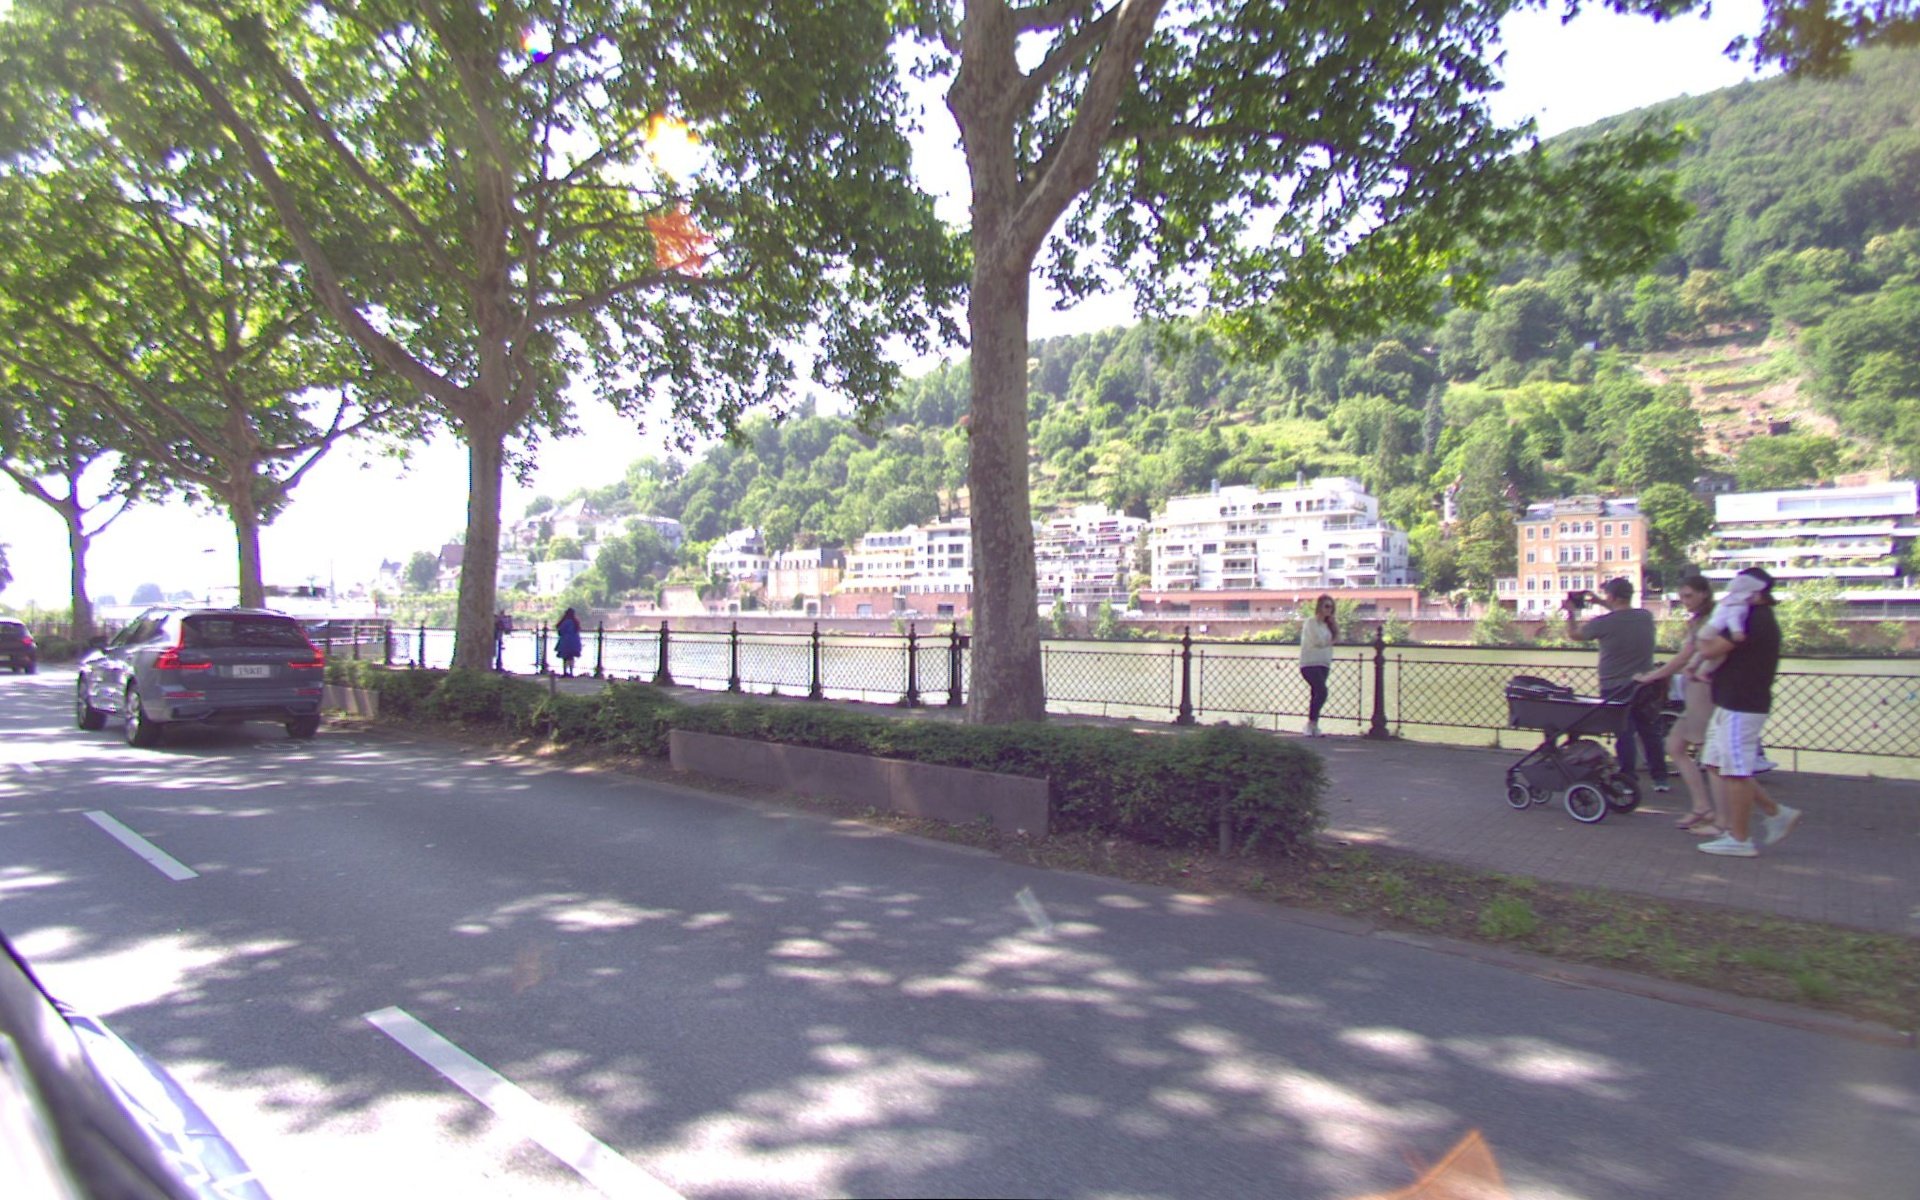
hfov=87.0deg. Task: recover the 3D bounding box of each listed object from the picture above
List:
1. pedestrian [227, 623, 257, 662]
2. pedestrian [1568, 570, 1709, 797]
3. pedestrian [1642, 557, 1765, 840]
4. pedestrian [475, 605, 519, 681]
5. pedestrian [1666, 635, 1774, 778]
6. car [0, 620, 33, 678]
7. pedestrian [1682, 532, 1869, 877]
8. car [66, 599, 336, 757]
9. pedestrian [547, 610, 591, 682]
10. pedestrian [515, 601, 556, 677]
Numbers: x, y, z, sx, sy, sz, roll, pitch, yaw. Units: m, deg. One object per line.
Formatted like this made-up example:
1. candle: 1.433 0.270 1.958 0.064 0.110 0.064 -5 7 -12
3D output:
1. pedestrian: -24.558 1.453 34.607 0.656 1.318 0.695 -1 -3 42
2. pedestrian: 5.534 0.648 8.258 0.873 1.730 0.686 -1 -3 40
3. pedestrian: 4.967 0.629 6.764 0.592 1.782 0.511 -1 -3 42
4. pedestrian: -10.760 0.986 23.529 0.705 1.744 0.696 -1 -1 43
5. pedestrian: 6.690 0.907 8.910 0.695 1.186 0.603 -1 -3 42
6. car: -26.092 1.266 26.950 3.777 1.480 1.632 -1 -2 41
7. pedestrian: 4.861 0.584 6.047 0.805 1.884 0.634 -1 -3 42
8. car: -9.880 0.906 13.063 4.256 1.711 1.857 -1 -3 41
9. pedestrian: -8.968 1.038 23.196 0.705 1.615 0.696 -1 -1 43
10. pedestrian: -10.297 0.927 24.543 0.705 1.810 0.696 -1 0 43
